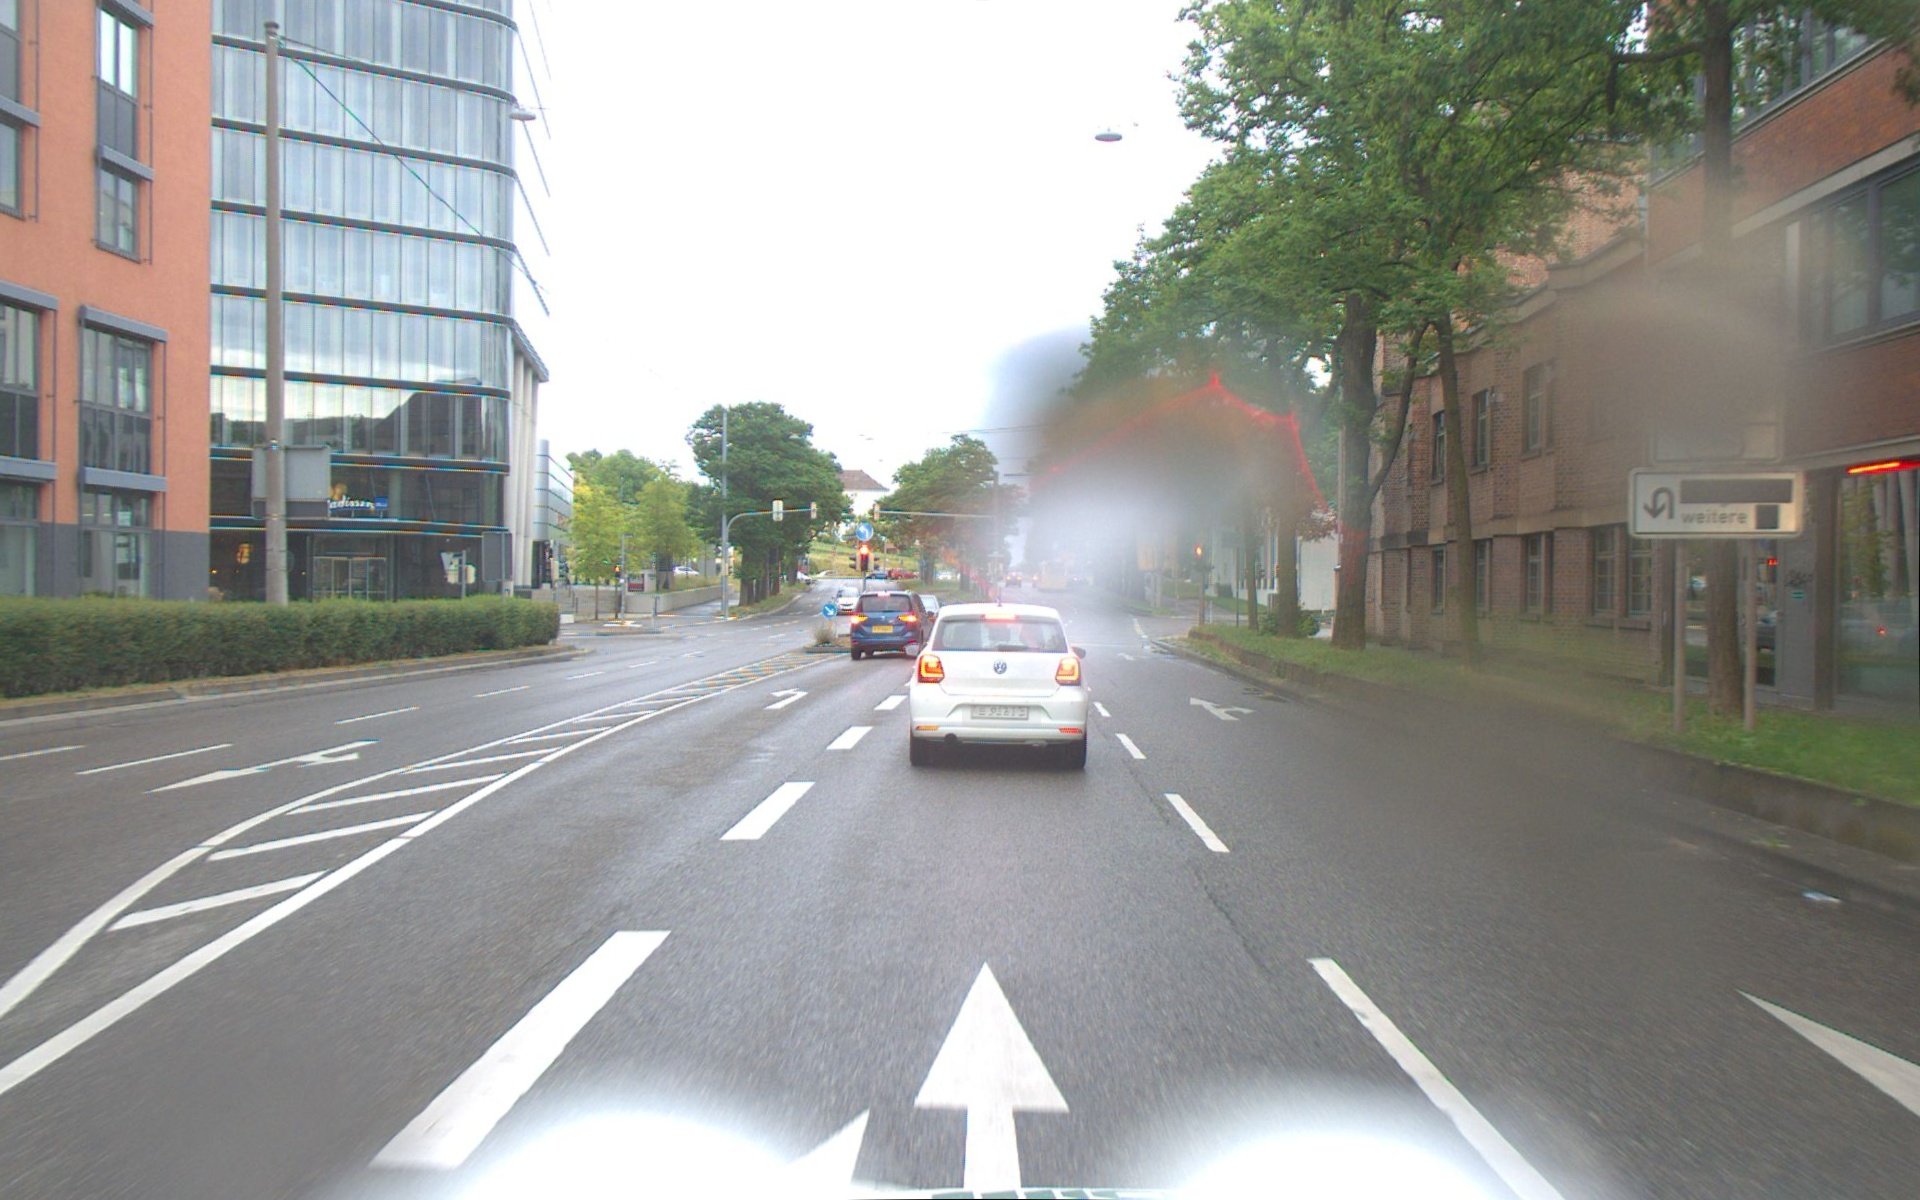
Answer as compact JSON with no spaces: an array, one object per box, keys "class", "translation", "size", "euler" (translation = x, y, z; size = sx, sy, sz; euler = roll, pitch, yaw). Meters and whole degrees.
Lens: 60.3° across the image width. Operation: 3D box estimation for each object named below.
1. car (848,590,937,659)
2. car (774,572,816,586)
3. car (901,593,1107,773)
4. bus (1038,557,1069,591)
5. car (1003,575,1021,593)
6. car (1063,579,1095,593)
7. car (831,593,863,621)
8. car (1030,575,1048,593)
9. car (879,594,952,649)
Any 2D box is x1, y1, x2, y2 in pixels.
[{"class":"car","translation":[-1.642,0.577,41.547],"size":[1.735,1.624,4.199],"euler":[0,0,4]},{"class":"car","translation":[-18.936,-2.431,190.029],"size":[4.548,1.436,1.819],"euler":[-1,1,25]},{"class":"car","translation":[0.453,0.707,16.290],"size":[1.757,1.528,4.001],"euler":[1,0,2]},{"class":"bus","translation":[9.560,-2.687,170.140],"size":[2.770,3.323,10.003],"euler":[1,1,1]},{"class":"car","translation":[5.969,-1.844,190.195],"size":[1.952,2.049,4.001],"euler":[0,0,1]},{"class":"car","translation":[13.624,-1.559,189.425],"size":[3.798,1.542,1.673],"euler":[0,0,-44]},{"class":"car","translation":[-6.674,0.379,97.765],"size":[1.715,1.547,3.816],"euler":[-1,1,-2]},{"class":"car","translation":[9.080,-1.838,189.934],"size":[1.952,2.049,4.001],"euler":[0,0,1]},{"class":"car","translation":[-1.275,0.601,48.998],"size":[1.808,1.537,4.050],"euler":[-1,0,4]}]
